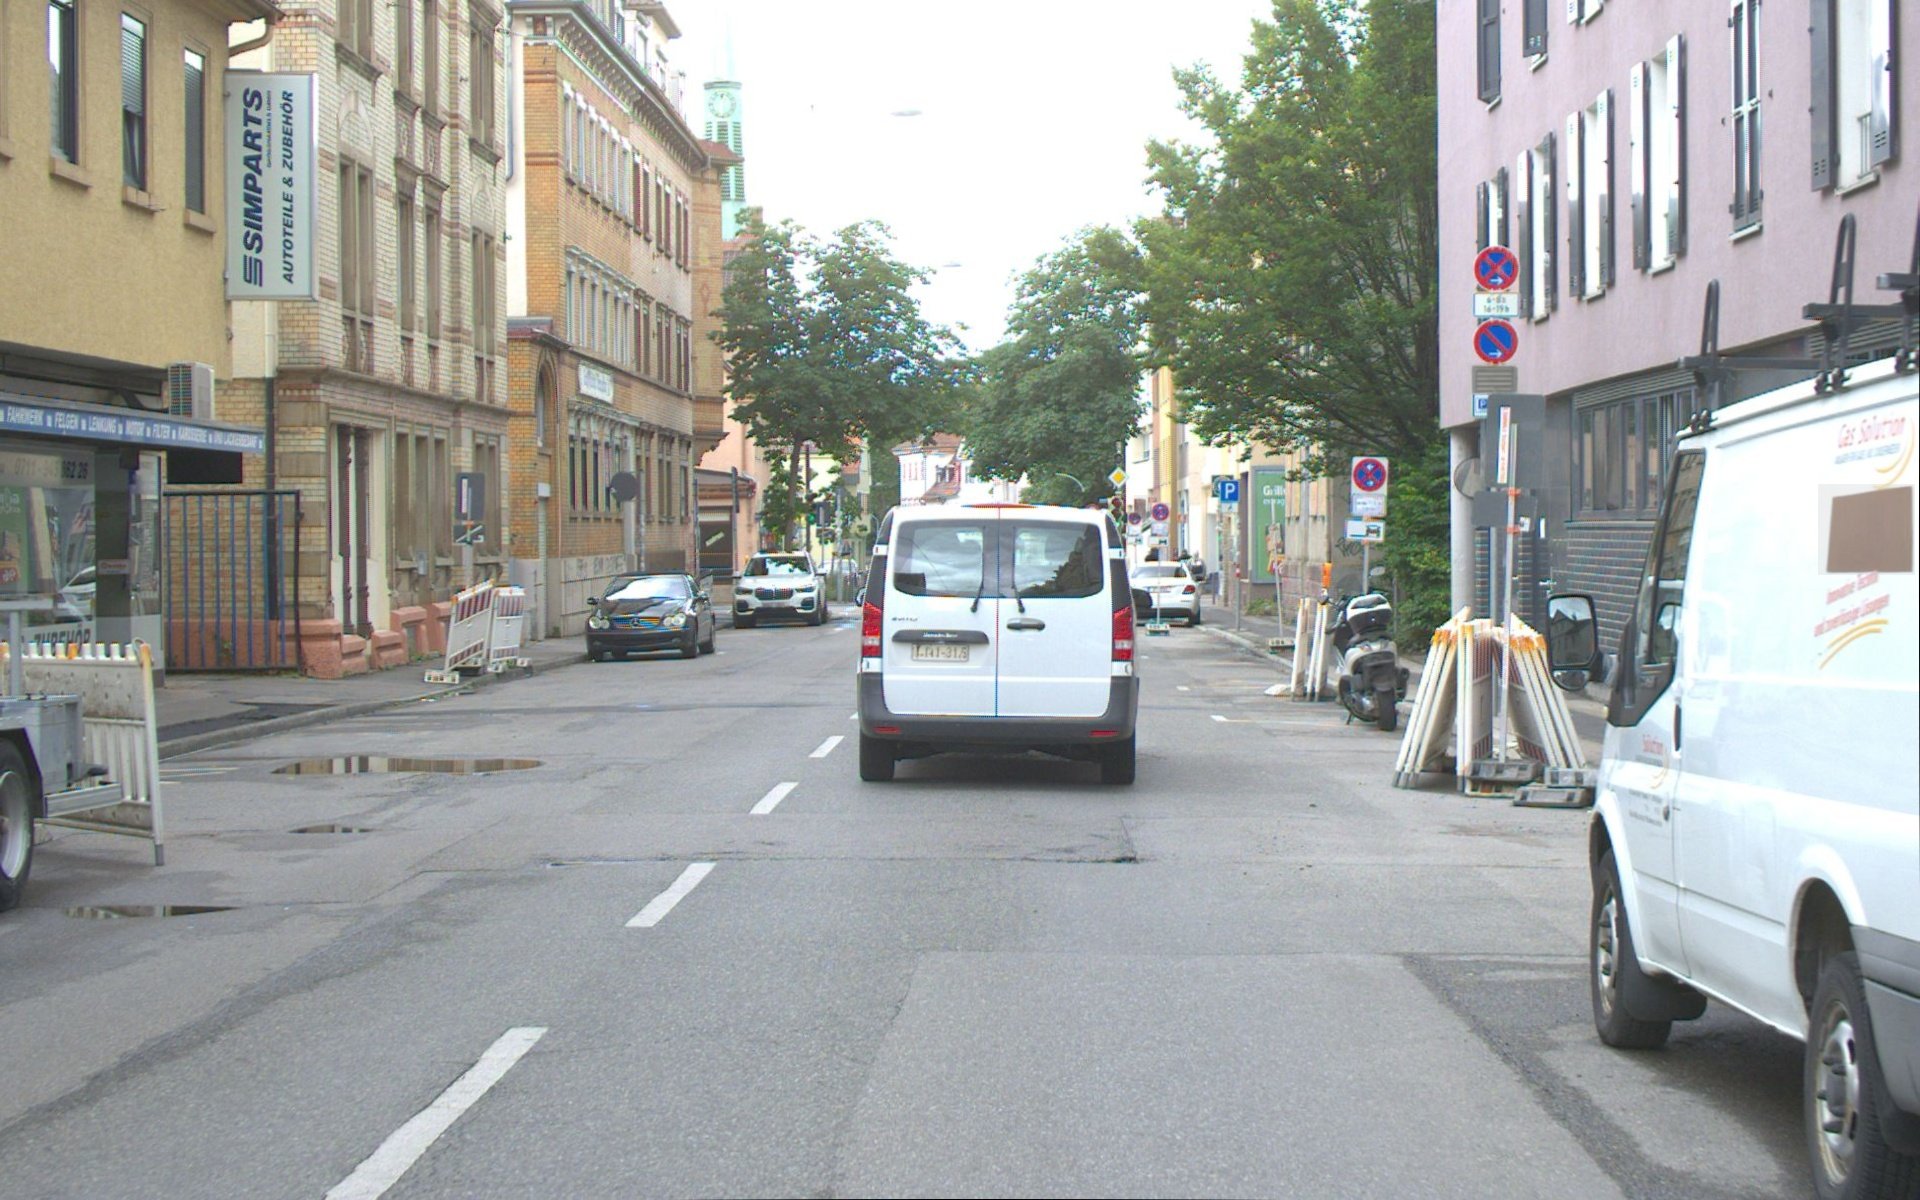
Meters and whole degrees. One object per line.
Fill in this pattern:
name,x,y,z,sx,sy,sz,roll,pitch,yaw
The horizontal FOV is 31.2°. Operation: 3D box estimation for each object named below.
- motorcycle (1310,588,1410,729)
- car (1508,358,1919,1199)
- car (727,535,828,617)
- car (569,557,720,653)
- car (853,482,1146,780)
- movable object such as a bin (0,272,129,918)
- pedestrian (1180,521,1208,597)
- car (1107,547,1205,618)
motorcycle,3.688,0.521,31.862,0.643,1.242,2.268,0,1,0
car,2.961,0.500,9.277,2.128,1.998,4.926,2,1,0
car,-4.223,-0.579,80.066,1.993,1.735,4.000,3,1,0
car,-5.050,0.057,55.494,1.993,1.437,4.000,-1,1,1
car,0.290,0.170,24.533,1.891,1.922,4.645,0,1,1
movable object such as a bin,-5.460,0.004,14.818,2.537,2.815,4.539,-2,1,1
pedestrian,6.361,-1.117,93.330,0.623,2.007,0.907,4,1,4
car,4.527,-0.432,79.860,1.993,1.480,4.000,3,1,0
